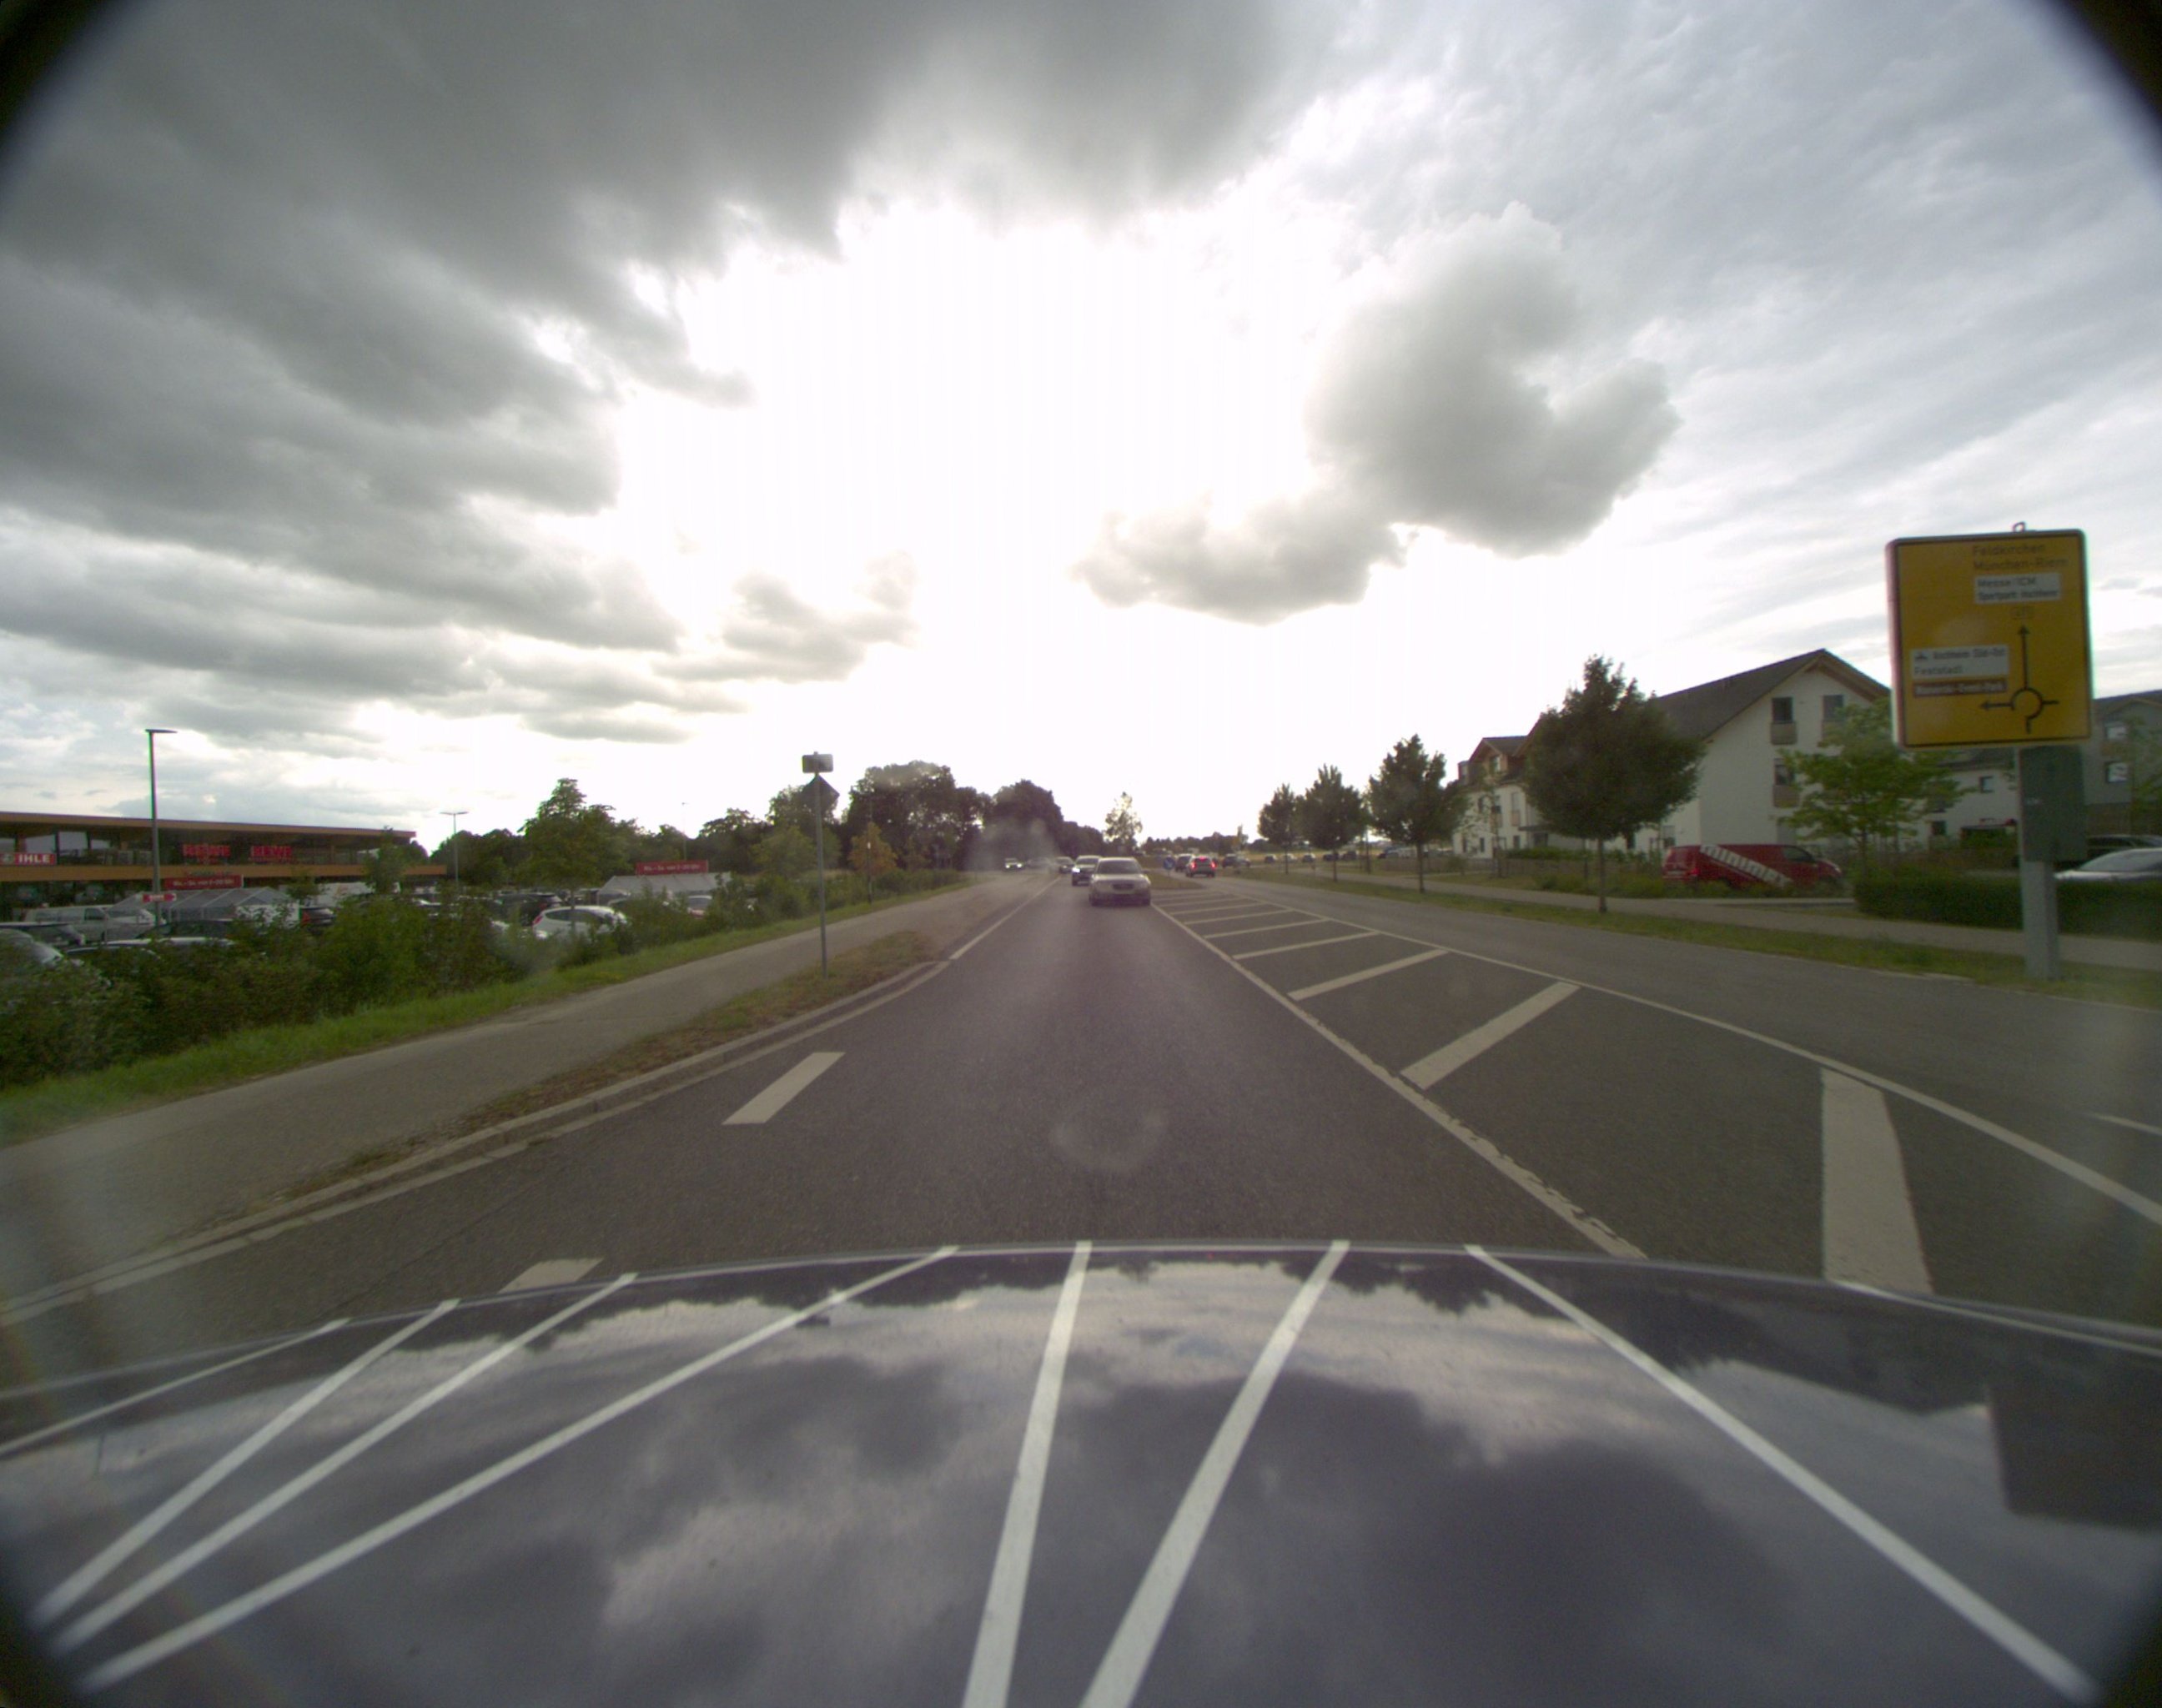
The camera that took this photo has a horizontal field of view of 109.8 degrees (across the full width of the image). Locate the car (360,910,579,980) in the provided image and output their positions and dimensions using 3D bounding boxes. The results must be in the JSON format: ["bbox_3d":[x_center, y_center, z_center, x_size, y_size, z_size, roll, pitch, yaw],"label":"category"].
[{"bbox_3d":[-16.283,2.403,20.429,4.157,1.588,2.080,-1,0,-1],"label":"car"}]

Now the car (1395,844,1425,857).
[{"bbox_3d":[52.418,-0.554,121.017,4.000,2.002,1.999,-1,0,-8],"label":"car"}]

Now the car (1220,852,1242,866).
[{"bbox_3d":[15.825,0.517,79.967,1.772,1.435,4.006,-1,0,19],"label":"car"}]

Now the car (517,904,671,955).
[{"bbox_3d":[-16.587,2.550,26.012,4.157,1.529,1.676,-1,0,-1],"label":"car"}]

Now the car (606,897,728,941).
[{"bbox_3d":[-16.033,2.495,29.551,3.766,1.529,1.676,-1,0,-1],"label":"car"}]

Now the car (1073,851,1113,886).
[{"bbox_3d":[0.710,0.711,39.844,1.870,1.578,5.063,-2,1,3],"label":"car"}]

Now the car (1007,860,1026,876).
[{"bbox_3d":[-7.361,1.570,86.673,2.000,1.827,3.998,-1,0,-7],"label":"car"}]

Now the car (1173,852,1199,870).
[{"bbox_3d":[9.670,0.639,70.289,1.830,1.573,4.216,0,0,1],"label":"car"}]

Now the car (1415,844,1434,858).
[{"bbox_3d":[50.038,-0.425,110.748,2.226,2.002,4.008,-1,0,28],"label":"car"}]

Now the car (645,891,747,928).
[{"bbox_3d":[-17.612,2.526,34.878,3.766,1.529,1.676,-1,0,-1],"label":"car"}]

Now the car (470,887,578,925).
[{"bbox_3d":[-29.274,2.723,40.007,4.269,1.860,2.001,-1,0,5],"label":"car"}]

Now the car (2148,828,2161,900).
[{"bbox_3d":[31.152,0.206,18.878,1.998,2.002,5.202,-5,0,4],"label":"car"}]

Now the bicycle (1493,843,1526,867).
[{"bbox_3d":[26.014,0.083,46.177,0.684,1.404,2.344,-1,0,0],"label":"bicycle"}]

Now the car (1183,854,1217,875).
[{"bbox_3d":[8.394,0.710,53.789,1.774,1.435,4.000,-1,0,1],"label":"car"}]

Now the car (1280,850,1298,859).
[{"bbox_3d":[32.238,0.042,117.518,1.995,1.280,4.007,-1,0,25],"label":"car"}]

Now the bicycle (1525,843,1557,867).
[{"bbox_3d":[27.807,0.044,45.988,0.684,1.420,2.094,-1,0,0],"label":"bicycle"}]

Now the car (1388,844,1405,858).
[{"bbox_3d":[46.960,-0.389,113.057,1.995,2.002,4.008,-1,0,28],"label":"car"}]

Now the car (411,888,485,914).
[{"bbox_3d":[-48.468,3.563,58.223,3.995,1.837,2.072,-1,0,5],"label":"car"}]

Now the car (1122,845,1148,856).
[{"bbox_3d":[8.103,-0.525,113.619,1.994,1.674,4.008,-1,0,37],"label":"car"}]

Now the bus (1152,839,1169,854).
[{"bbox_3d":[18.257,-1.629,174.793,2.991,3.261,6.484,-1,0,0],"label":"bus"}]

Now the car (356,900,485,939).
[{"bbox_3d":[-29.585,2.925,34.135,3.997,1.433,2.000,-2,0,0],"label":"car"}]

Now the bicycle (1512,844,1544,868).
[{"bbox_3d":[27.034,0.102,45.977,0.684,1.409,2.094,-1,0,0],"label":"bicycle"}]

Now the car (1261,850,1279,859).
[{"bbox_3d":[29.593,0.073,119.017,1.995,1.280,4.007,-1,0,25],"label":"car"}]

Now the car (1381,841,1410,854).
[{"bbox_3d":[53.145,-1.109,128.482,4.001,2.002,1.998,-1,0,-12],"label":"car"}]

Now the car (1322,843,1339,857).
[{"bbox_3d":[37.665,-0.588,114.699,1.995,2.002,4.007,-1,0,25],"label":"car"}]

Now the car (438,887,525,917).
[{"bbox_3d":[-39.646,3.158,50.317,4.269,1.860,2.001,-1,0,5],"label":"car"}]

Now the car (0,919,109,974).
[{"bbox_3d":[-35.483,3.044,25.278,3.995,1.608,2.001,-1,0,5],"label":"car"}]

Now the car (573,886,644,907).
[{"bbox_3d":[-35.746,3.193,57.527,4.127,1.476,2.001,-1,0,5],"label":"car"}]

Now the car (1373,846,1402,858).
[{"bbox_3d":[50.392,-0.304,124.802,4.001,2.002,1.998,-1,0,-12],"label":"car"}]

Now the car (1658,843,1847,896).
[{"bbox_3d":[24.033,0.541,27.357,4.915,1.805,1.907,-1,0,6],"label":"car"}]

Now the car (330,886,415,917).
[{"bbox_3d":[-48.148,3.213,51.683,3.995,2.002,2.001,-1,0,5],"label":"car"}]

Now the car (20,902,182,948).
[{"bbox_3d":[-47.316,3.413,36.758,5.142,2.002,2.000,-1,0,-1],"label":"car"}]

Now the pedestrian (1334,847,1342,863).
[{"bbox_3d":[25.130,0.137,74.348,0.547,1.521,0.586,-3,0,1],"label":"pedestrian"}]

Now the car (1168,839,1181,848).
[{"bbox_3d":[15.262,-1.699,124.313,1.774,1.435,4.000,-1,0,1],"label":"car"}]

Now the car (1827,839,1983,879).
[{"bbox_3d":[33.126,0.185,30.720,1.998,1.499,4.000,-1,0,1],"label":"car"}]

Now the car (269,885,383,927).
[{"bbox_3d":[-38.435,2.650,38.757,3.995,2.002,2.001,-1,0,5],"label":"car"}]

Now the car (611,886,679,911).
[{"bbox_3d":[-29.578,3.018,51.627,3.558,1.524,1.753,-1,0,-1],"label":"car"}]

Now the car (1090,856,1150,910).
[{"bbox_3d":[1.240,0.843,23.744,1.700,1.458,4.001,-1,1,4],"label":"car"}]

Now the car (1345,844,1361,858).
[{"bbox_3d":[40.441,-0.486,113.144,1.996,2.002,4.005,-1,0,16],"label":"car"}]

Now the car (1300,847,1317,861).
[{"bbox_3d":[34.921,0.011,116.545,1.995,2.002,4.007,-1,0,25],"label":"car"}]

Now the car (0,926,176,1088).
[{"bbox_3d":[-16.843,2.177,11.152,4.605,2.002,2.000,-1,0,-1],"label":"car"}]

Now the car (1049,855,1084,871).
[{"bbox_3d":[-1.398,0.827,73.669,2.003,1.510,3.763,-1,0,-25],"label":"car"}]

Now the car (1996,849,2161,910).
[{"bbox_3d":[26.492,0.592,18.972,4.917,1.422,1.906,-1,0,2],"label":"car"}]

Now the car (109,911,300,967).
[{"bbox_3d":[-28.928,2.786,25.184,3.997,1.608,2.000,-1,0,1],"label":"car"}]
